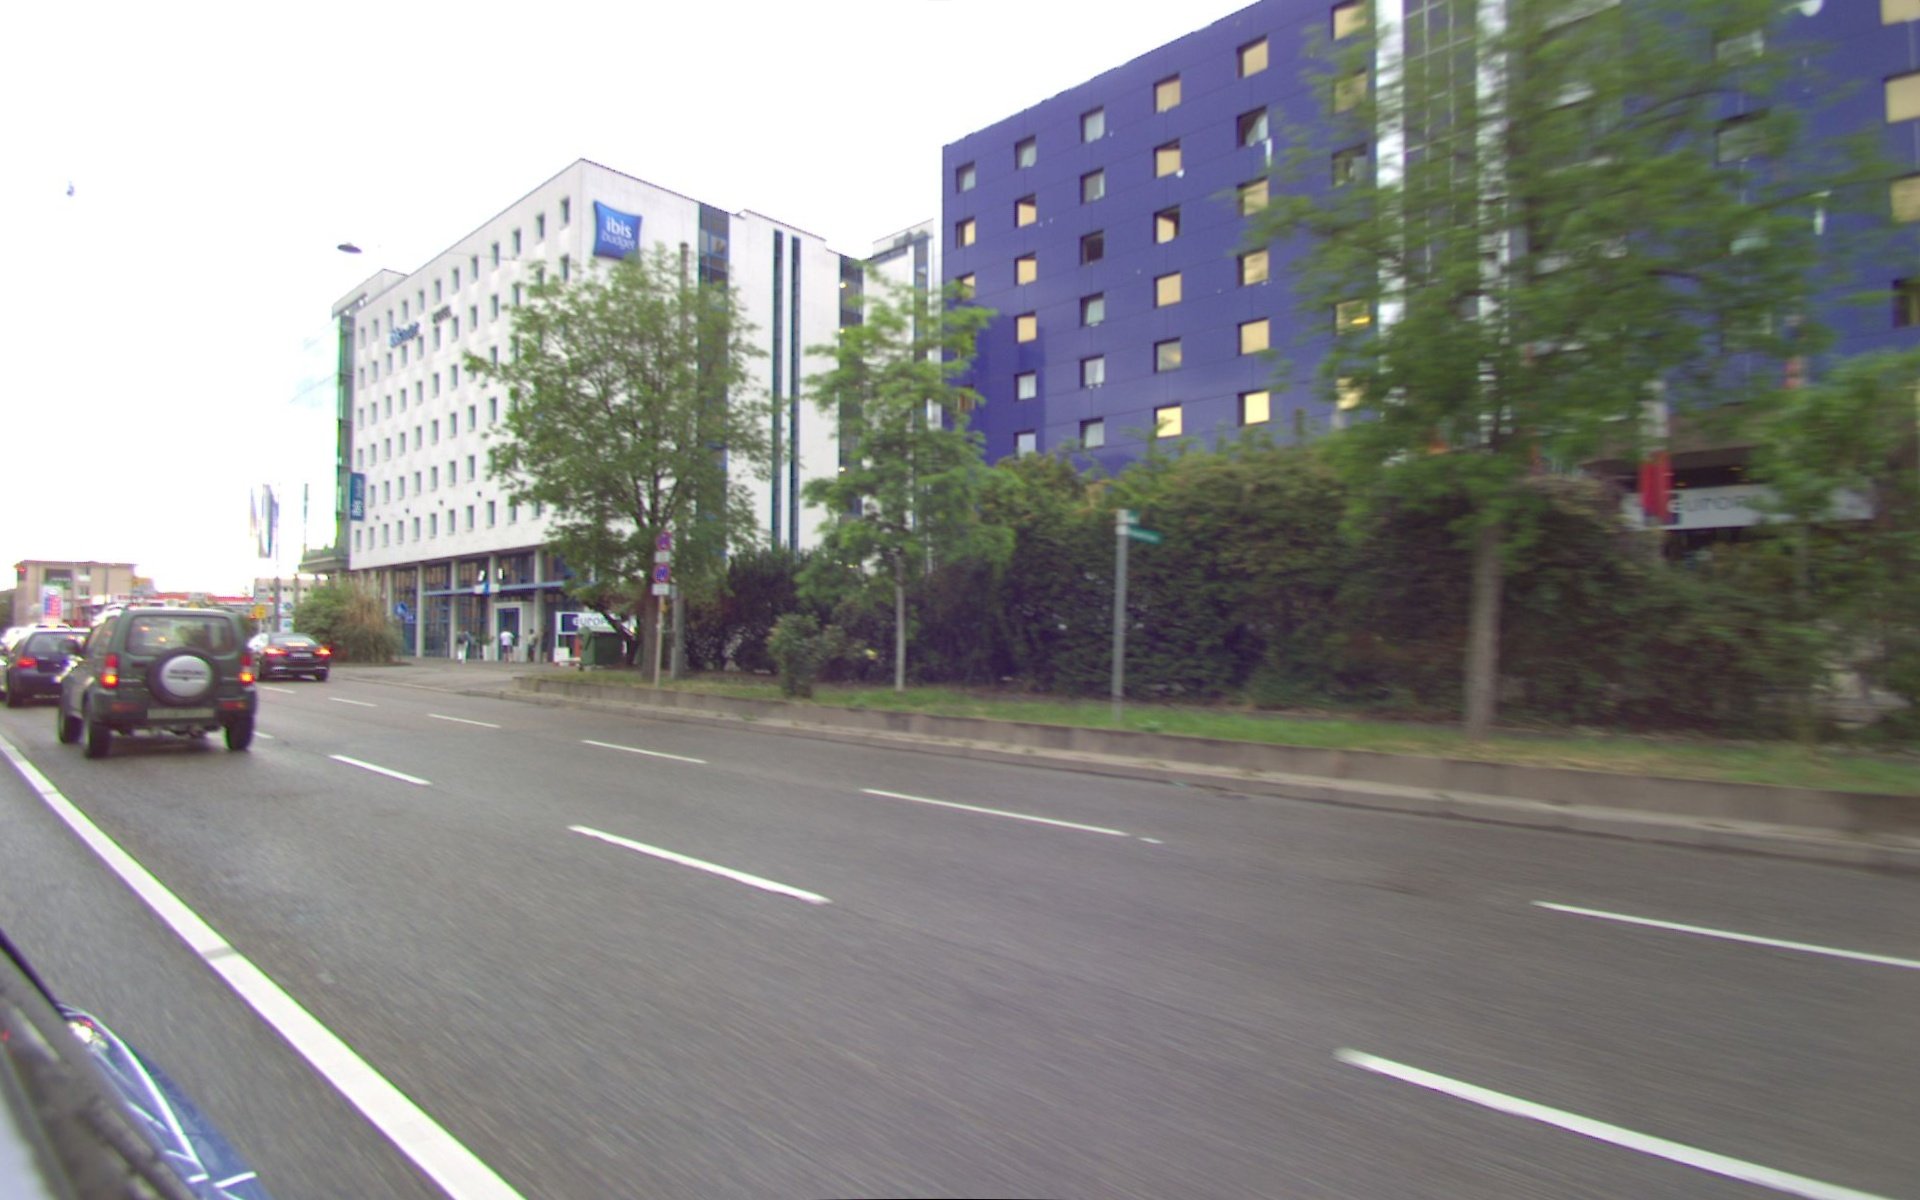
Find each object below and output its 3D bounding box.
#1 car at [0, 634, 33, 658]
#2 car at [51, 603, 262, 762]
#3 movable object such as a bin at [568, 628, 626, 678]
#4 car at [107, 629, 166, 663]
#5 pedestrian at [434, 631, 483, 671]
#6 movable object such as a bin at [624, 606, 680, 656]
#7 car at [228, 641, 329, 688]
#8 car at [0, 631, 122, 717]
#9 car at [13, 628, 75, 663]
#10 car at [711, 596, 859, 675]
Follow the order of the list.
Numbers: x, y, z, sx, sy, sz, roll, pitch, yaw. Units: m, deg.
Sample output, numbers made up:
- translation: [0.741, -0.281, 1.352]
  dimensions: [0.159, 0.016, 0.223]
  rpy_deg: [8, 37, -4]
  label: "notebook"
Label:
- translation: [-57.146, 2.754, 60.688]
  dimensions: [4.962, 1.397, 1.798]
  rpy_deg: [-2, -3, 42]
  label: "car"
- translation: [-9.922, 0.968, 12.416]
  dimensions: [3.419, 1.679, 1.487]
  rpy_deg: [-3, -4, 43]
  label: "car"
- translation: [-11.368, 1.668, 31.724]
  dimensions: [0.949, 1.502, 1.377]
  rpy_deg: [-5, -7, 36]
  label: "movable object such as a bin"
- translation: [-40.974, 2.315, 50.332]
  dimensions: [4.034, 1.578, 1.689]
  rpy_deg: [-3, -6, 43]
  label: "car"
- translation: [-22.842, 2.320, 46.097]
  dimensions: [1.965, 1.734, 1.701]
  rpy_deg: [0, -3, -28]
  label: "pedestrian"
- translation: [-9.818, 0.982, 32.259]
  dimensions: [1.372, 1.502, 0.953]
  rpy_deg: [5, -3, -36]
  label: "movable object such as a bin"
- translation: [-20.837, 1.952, 30.868]
  dimensions: [4.447, 1.334, 1.603]
  rpy_deg: [-3, -5, 44]
  label: "car"
- translation: [-17.699, 1.363, 19.675]
  dimensions: [3.820, 1.497, 1.641]
  rpy_deg: [-2, -3, 43]
  label: "car"
- translation: [-44.898, 2.275, 49.601]
  dimensions: [4.449, 1.568, 1.737]
  rpy_deg: [-4, -6, 42]
  label: "car"
- translation: [-5.040, 0.987, 28.853]
  dimensions: [4.316, 2.029, 1.816]
  rpy_deg: [1, -3, 43]
  label: "car"
